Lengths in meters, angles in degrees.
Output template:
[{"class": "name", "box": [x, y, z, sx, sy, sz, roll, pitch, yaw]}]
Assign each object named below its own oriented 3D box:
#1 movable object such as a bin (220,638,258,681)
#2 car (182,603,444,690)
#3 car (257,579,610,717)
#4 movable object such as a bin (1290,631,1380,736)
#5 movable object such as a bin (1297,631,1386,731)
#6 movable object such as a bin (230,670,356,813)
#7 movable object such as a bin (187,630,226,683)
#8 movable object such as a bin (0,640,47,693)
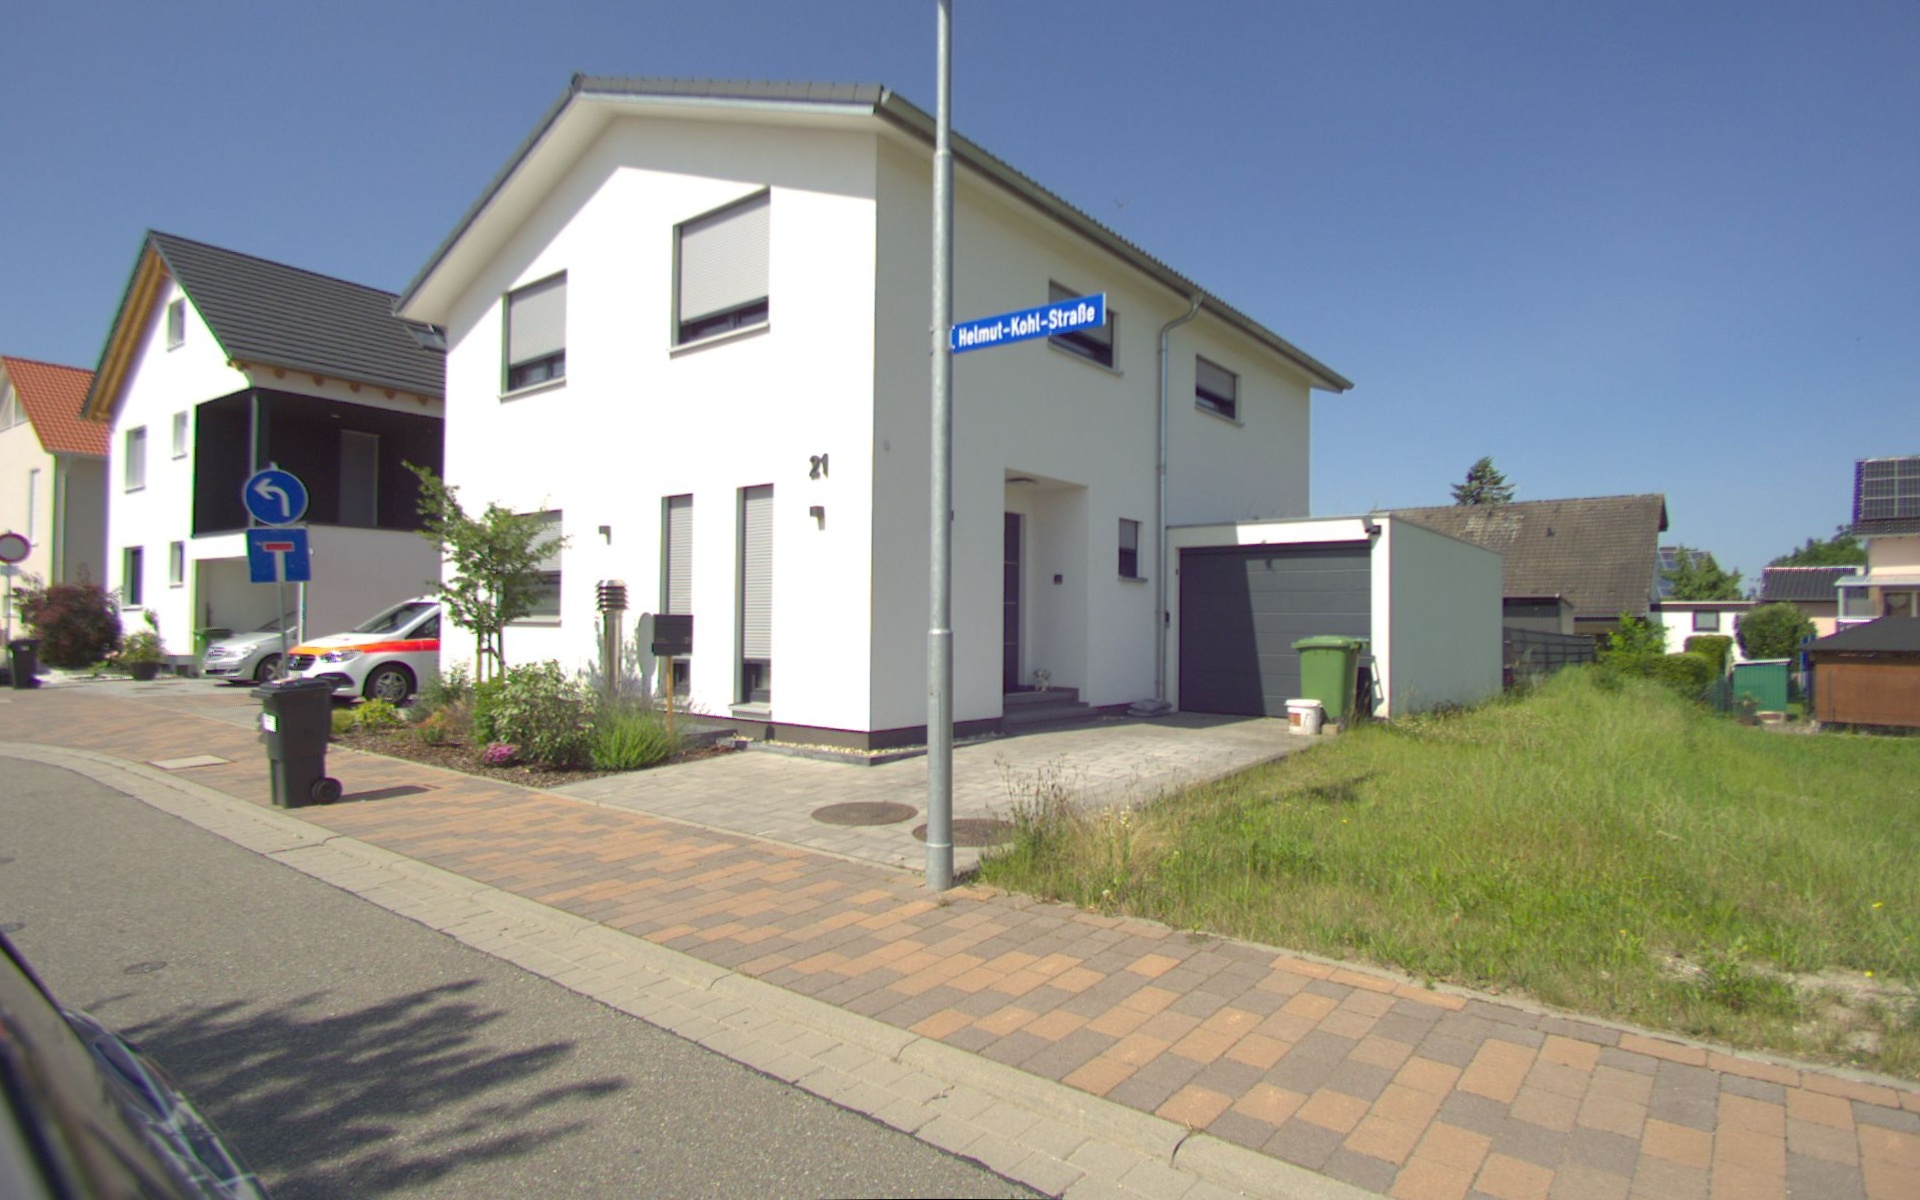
[{"class": "movable object such as a bin", "box": [-15.827, 1.291, 22.213, 0.560, 0.912, 0.494, 1, -1, 34]}, {"class": "car", "box": [-12.996, 0.933, 20.594, 1.740, 1.574, 4.118, -1, -3, 33]}, {"class": "car", "box": [-8.309, 0.746, 16.423, 1.934, 1.889, 4.694, 0, -2, 36]}, {"class": "movable object such as a bin", "box": [4.194, 0.915, 11.317, 0.784, 1.107, 0.653, -1, -3, 38]}, {"class": "movable object such as a bin", "box": [4.479, 0.931, 11.883, 0.807, 1.107, 0.663, -1, -3, 40]}, {"class": "movable object such as a bin", "box": [-4.928, 1.020, 7.488, 0.499, 0.955, 0.618, 0, -1, 34]}, {"class": "movable object such as a bin", "box": [-16.133, 1.201, 21.669, 0.600, 1.100, 0.494, -2, -3, 34]}, {"class": "movable object such as a bin", "box": [-17.447, 1.223, 18.798, 0.563, 0.944, 0.611, -1, -2, 34]}]
